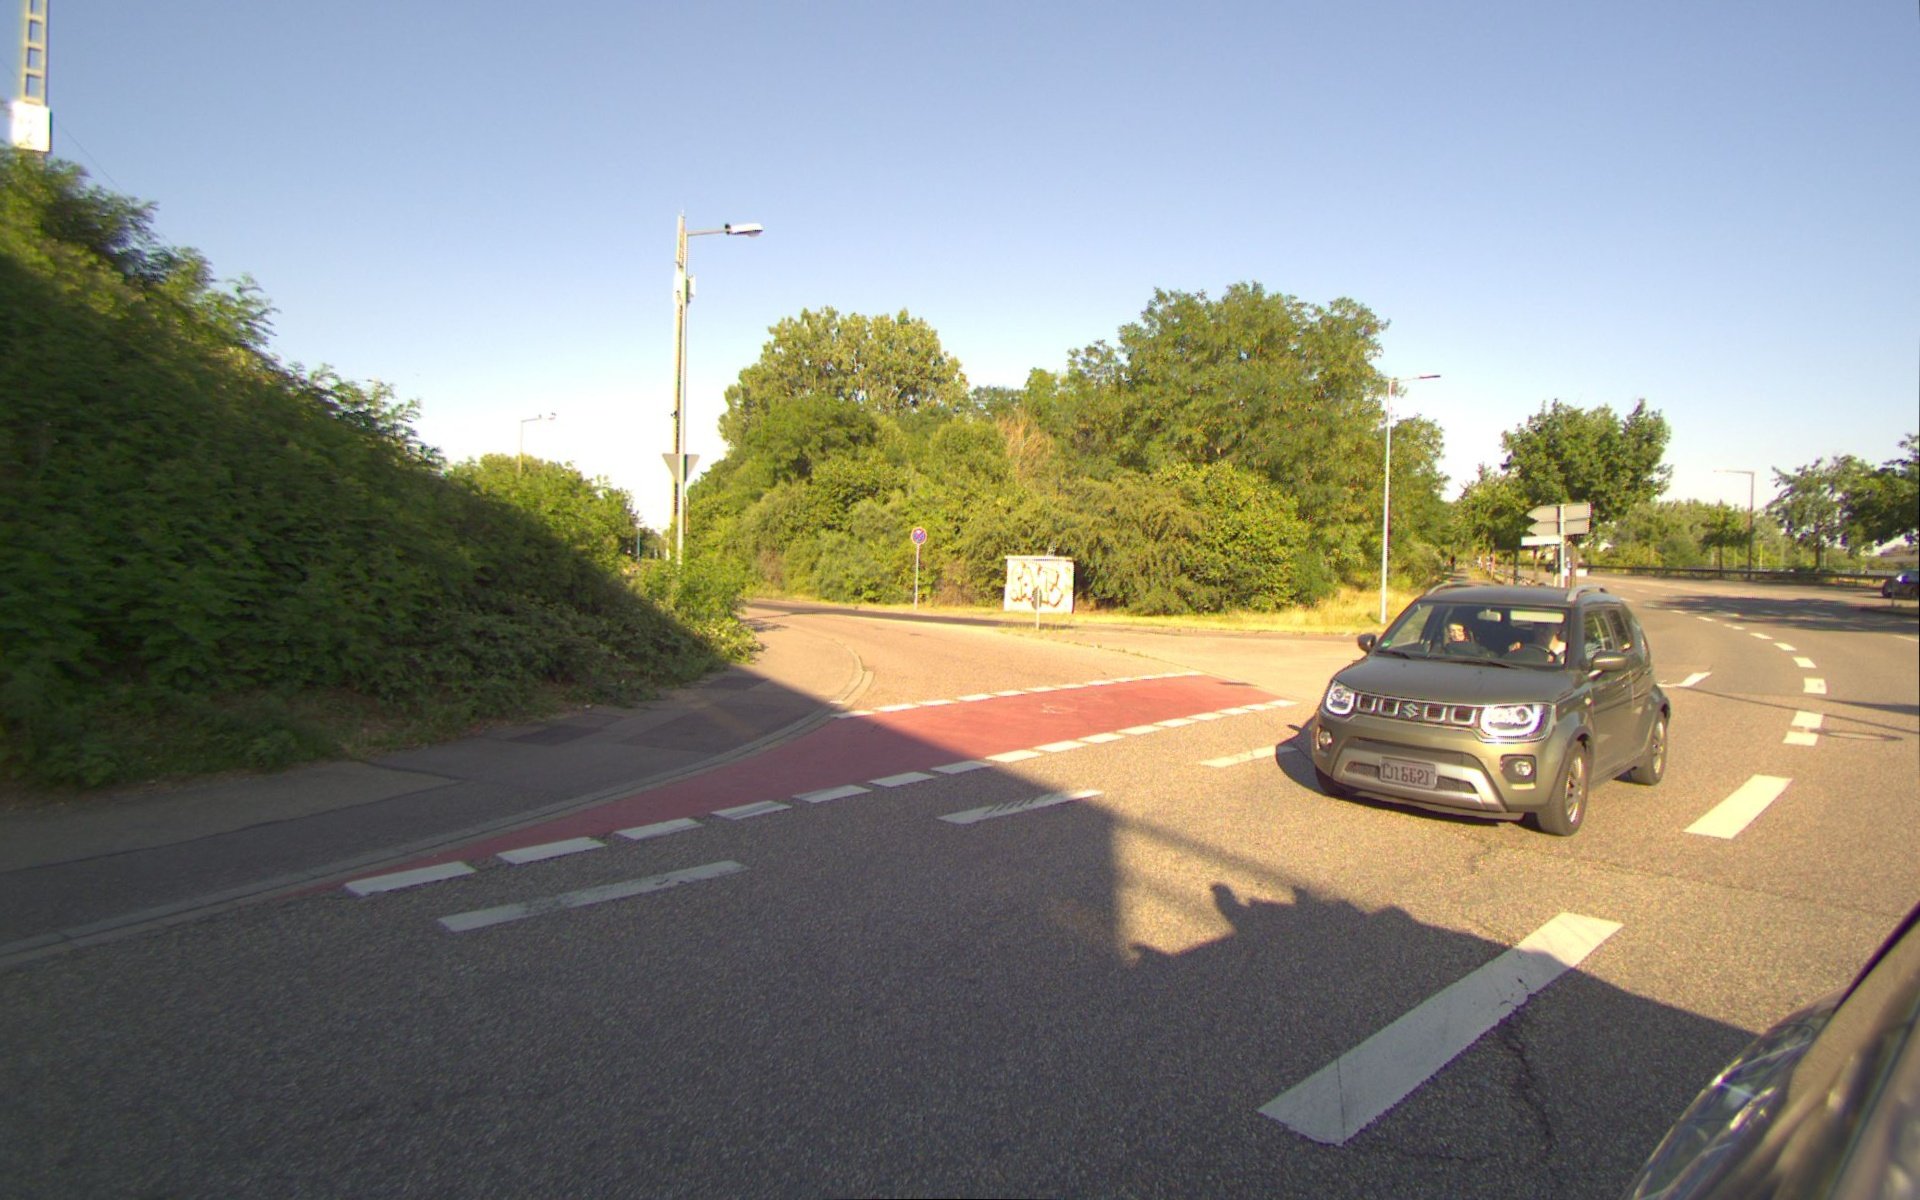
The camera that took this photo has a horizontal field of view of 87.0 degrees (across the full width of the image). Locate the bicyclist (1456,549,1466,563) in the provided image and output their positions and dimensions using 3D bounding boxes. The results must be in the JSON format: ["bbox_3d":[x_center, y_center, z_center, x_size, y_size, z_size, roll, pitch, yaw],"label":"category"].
[{"bbox_3d":[51.157,-4.479,103.324,0.836,1.439,1.103,0,0,28],"label":"bicyclist"}]

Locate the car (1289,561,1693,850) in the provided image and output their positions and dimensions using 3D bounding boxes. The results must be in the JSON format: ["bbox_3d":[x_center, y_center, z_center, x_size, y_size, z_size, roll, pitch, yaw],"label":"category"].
[{"bbox_3d":[4.279,0.579,7.842,1.737,1.651,3.998,0,0,44],"label":"car"}]

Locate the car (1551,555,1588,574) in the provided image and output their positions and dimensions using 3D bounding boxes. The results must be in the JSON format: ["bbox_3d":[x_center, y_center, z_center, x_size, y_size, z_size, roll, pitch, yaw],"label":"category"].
[{"bbox_3d":[63.592,-3.690,105.651,1.969,1.794,3.987,0,0,11],"label":"car"}]

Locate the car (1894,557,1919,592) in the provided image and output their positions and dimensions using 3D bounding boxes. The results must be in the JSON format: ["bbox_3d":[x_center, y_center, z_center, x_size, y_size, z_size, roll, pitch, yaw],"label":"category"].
[{"bbox_3d":[49.365,-1.286,50.949,1.974,1.794,3.976,0,0,19],"label":"car"}]

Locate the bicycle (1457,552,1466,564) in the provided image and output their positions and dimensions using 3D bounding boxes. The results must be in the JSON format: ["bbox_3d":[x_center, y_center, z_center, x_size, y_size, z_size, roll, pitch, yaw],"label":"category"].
[{"bbox_3d":[51.190,-4.295,103.355,0.775,1.070,2.473,0,0,27],"label":"bicycle"}]
